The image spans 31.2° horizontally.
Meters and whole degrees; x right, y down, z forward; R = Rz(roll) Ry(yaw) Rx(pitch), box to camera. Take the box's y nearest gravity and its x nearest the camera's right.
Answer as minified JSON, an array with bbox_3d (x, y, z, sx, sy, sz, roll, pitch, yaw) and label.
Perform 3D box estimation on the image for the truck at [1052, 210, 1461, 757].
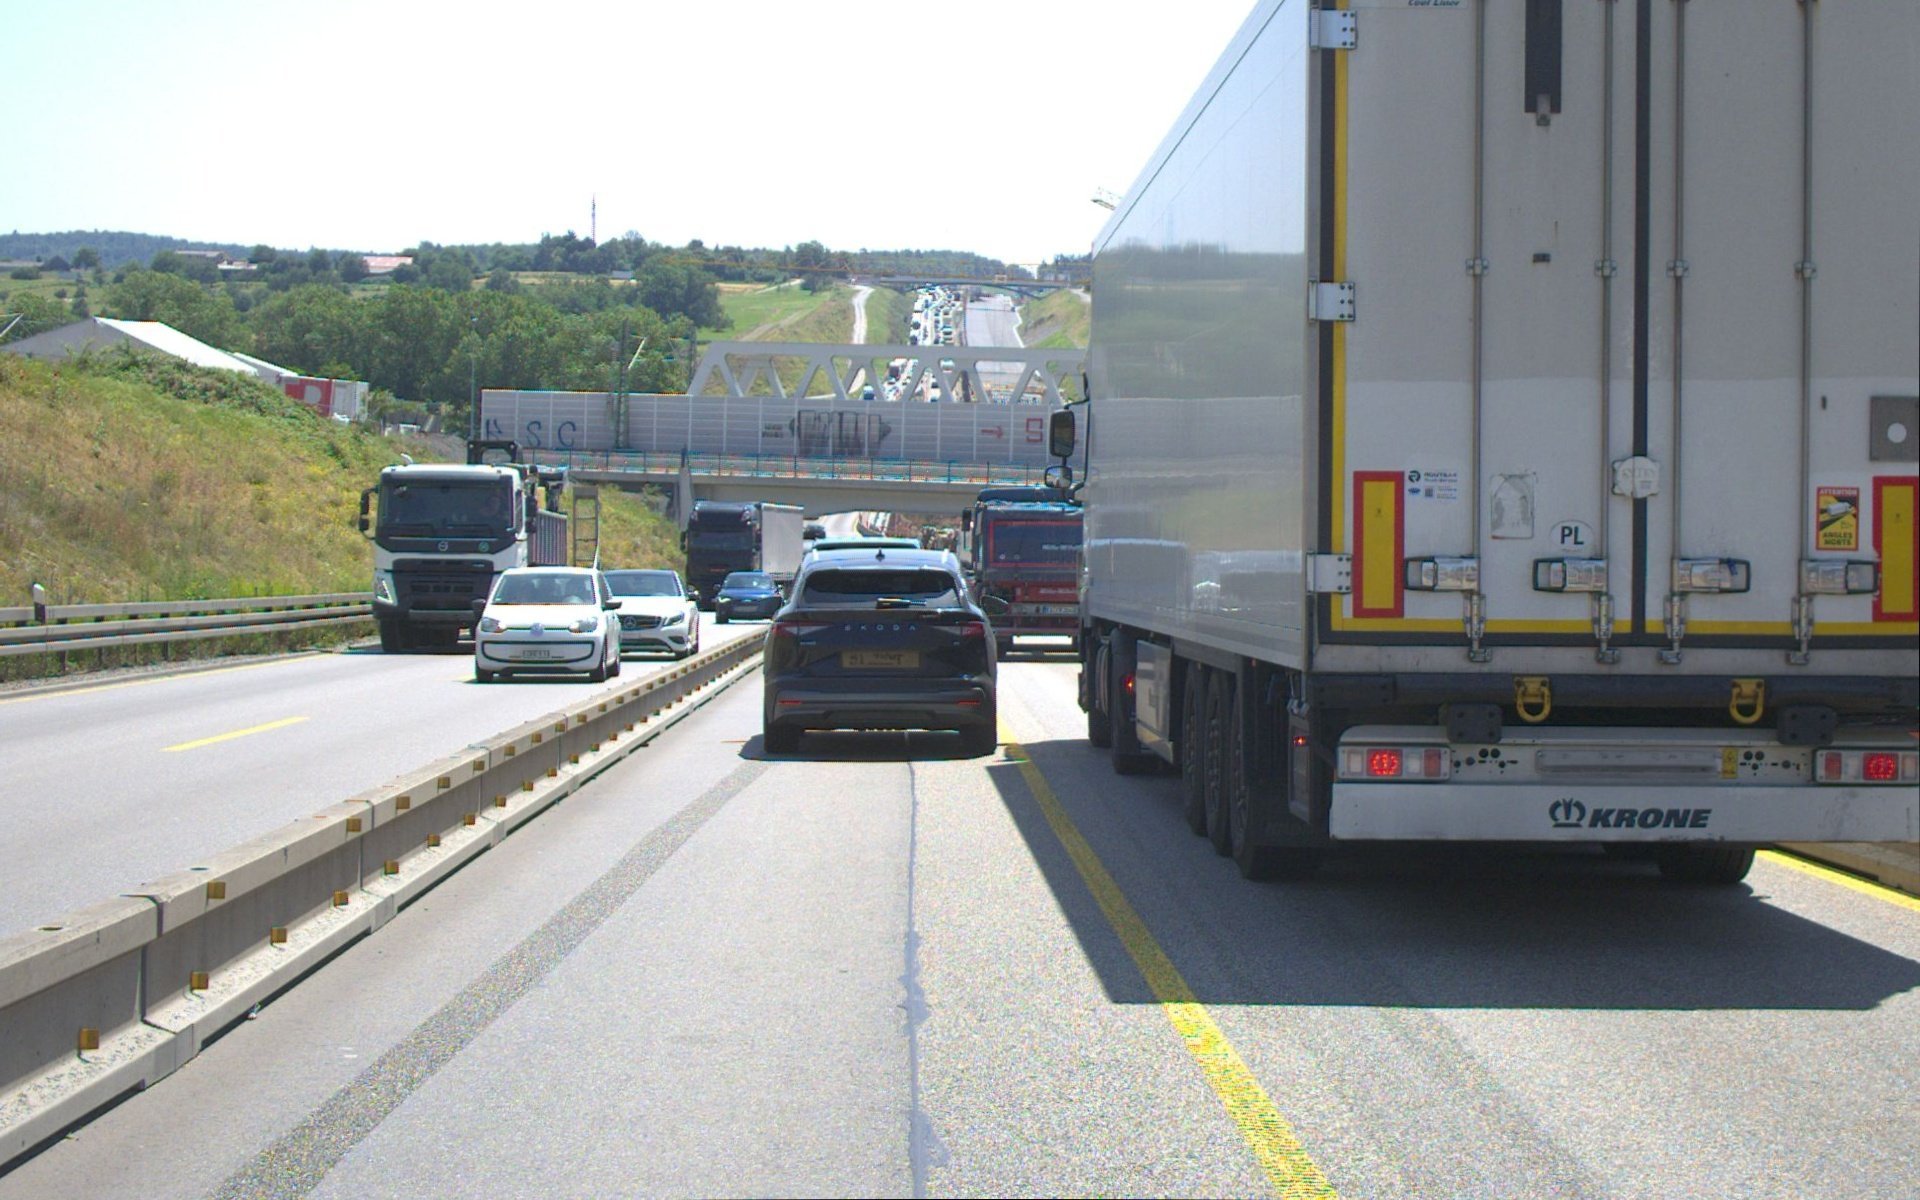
[{"bbox_3d":[2.275,-0.886,28.041,2.776,4.044,4.905,1,0,-1],"label":"truck"}]

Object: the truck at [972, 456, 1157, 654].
[{"bbox_3d":[1.685,-0.785,61.098,2.814,3.124,12.838,1,1,0],"label":"truck"}]

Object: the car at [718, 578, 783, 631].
[{"bbox_3d":[-5.713,0.106,93.989,1.689,1.398,3.687,0,0,-2],"label":"car"}]

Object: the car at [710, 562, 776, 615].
[{"bbox_3d":[-5.903,-0.331,93.867,1.684,1.425,3.850,0,1,-2],"label":"car"}]

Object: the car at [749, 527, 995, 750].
[{"bbox_3d":[-0.688,0.257,27.515,1.800,1.615,3.298,2,1,-1],"label":"car"}]

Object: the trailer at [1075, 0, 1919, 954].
[{"bbox_3d":[2.465,-0.751,20.046,2.801,4.044,14.117,1,0,-1],"label":"trailer"}]

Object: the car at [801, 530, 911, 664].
[{"bbox_3d":[-1.416,-0.062,47.731,1.475,1.789,3.298,0,1,-1],"label":"car"}]

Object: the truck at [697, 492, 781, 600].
[{"bbox_3d":[-8.132,-1.974,126.916,2.767,3.871,4.964,1,0,-1],"label":"truck"}]

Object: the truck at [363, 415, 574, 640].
[{"bbox_3d":[-8.669,-1.253,61.626,2.587,3.710,9.333,0,1,-1],"label":"truck"}]

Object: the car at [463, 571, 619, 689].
[{"bbox_3d":[-5.300,0.360,43.775,1.684,1.425,3.293,0,1,-2],"label":"car"}]

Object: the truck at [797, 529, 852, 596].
[{"bbox_3d":[-6.008,-1.662,153.351,2.268,2.872,5.851,1,0,-1],"label":"truck"}]

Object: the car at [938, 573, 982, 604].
[{"bbox_3d":[-0.004,-0.454,133.993,1.538,1.202,3.311,0,1,-3],"label":"car"}]

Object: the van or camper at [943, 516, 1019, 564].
[{"bbox_3d":[1.541,-4.440,253.683,3.942,3.408,8.408,1,1,-11],"label":"van or camper"}]

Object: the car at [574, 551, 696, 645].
[{"bbox_3d":[-5.153,-0.051,54.878,1.684,1.425,4.123,0,1,-2],"label":"car"}]

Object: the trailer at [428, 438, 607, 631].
[{"bbox_3d":[-8.828,-1.290,69.568,2.587,3.624,9.079,0,1,-1],"label":"trailer"}]
